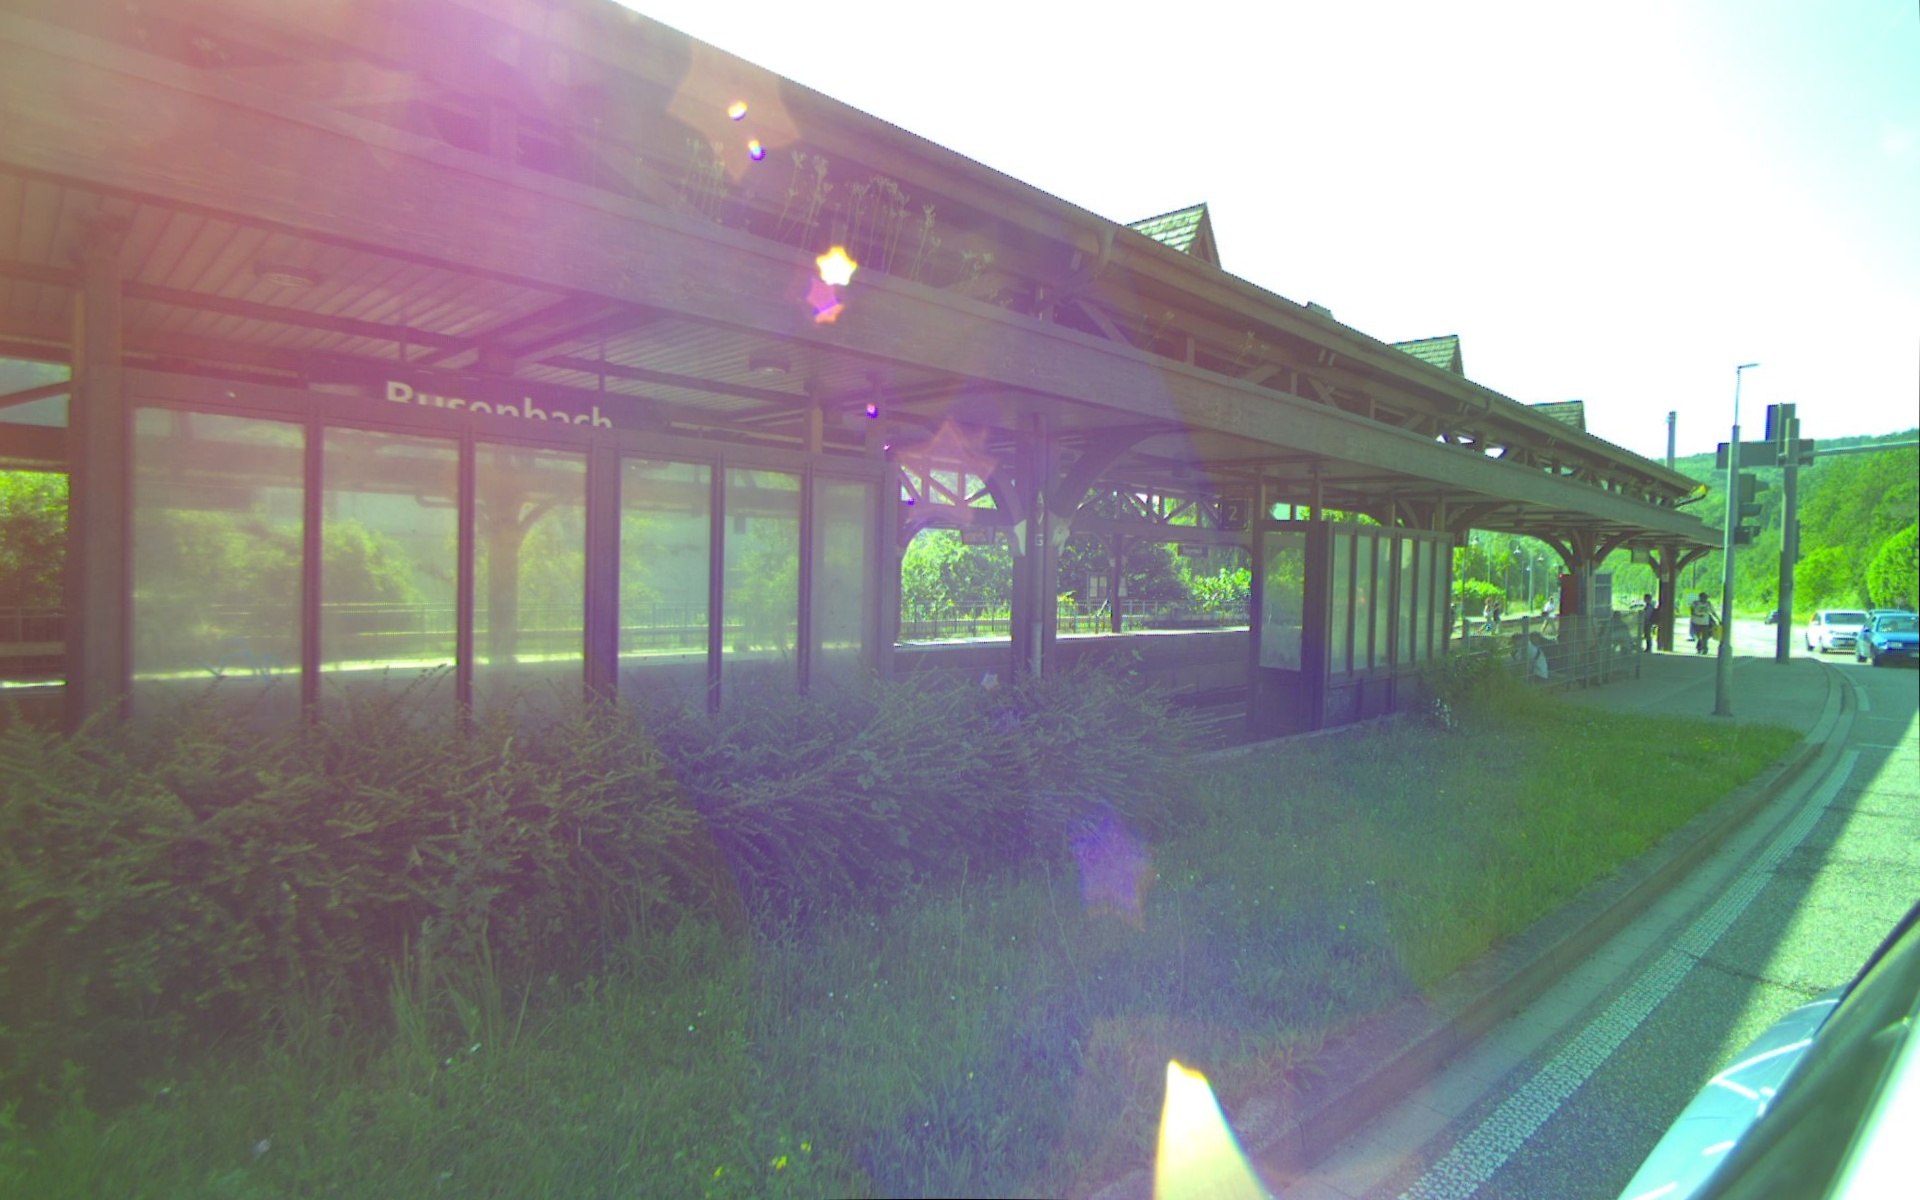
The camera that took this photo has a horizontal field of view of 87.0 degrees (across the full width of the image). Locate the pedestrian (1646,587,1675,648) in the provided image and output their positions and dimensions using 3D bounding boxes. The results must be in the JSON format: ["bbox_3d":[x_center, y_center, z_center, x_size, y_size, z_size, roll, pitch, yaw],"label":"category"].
[{"bbox_3d":[20.147,0.487,29.114,0.655,1.713,0.730,1,0,35],"label":"pedestrian"}]

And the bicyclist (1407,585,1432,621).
[{"bbox_3d":[21.784,0.152,48.003,0.900,1.706,0.810,-1,-2,41],"label":"bicyclist"}]

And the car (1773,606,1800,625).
[{"bbox_3d":[80.206,1.518,98.196,1.990,1.772,3.942,-1,-2,40],"label":"car"}]

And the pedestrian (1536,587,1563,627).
[{"bbox_3d":[25.494,0.324,43.775,0.864,1.706,0.810,-1,-2,42],"label":"pedestrian"}]

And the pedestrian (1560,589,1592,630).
[{"bbox_3d":[25.964,0.411,42.639,0.808,1.706,0.902,0,-2,5],"label":"pedestrian"}]

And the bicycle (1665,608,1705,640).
[{"bbox_3d":[24.985,0.803,34.901,0.596,1.069,1.802,-1,-1,20],"label":"bicycle"}]

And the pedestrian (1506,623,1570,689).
[{"bbox_3d":[9.110,0.866,15.948,0.741,0.995,0.757,-1,-2,42],"label":"pedestrian"}]

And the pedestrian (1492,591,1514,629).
[{"bbox_3d":[24.561,0.471,45.795,0.669,1.706,0.560,1,-2,-20],"label":"pedestrian"}]

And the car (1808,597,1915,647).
[{"bbox_3d":[30.719,0.727,34.620,1.984,1.605,3.955,-1,-1,31],"label":"car"}]

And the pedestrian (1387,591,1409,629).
[{"bbox_3d":[20.116,0.478,46.439,0.894,1.706,1.114,0,-2,26],"label":"pedestrian"}]

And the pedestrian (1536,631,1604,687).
[{"bbox_3d":[10.154,0.970,16.847,0.844,0.885,0.795,-1,-2,42],"label":"pedestrian"}]

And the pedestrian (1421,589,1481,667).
[{"bbox_3d":[10.280,0.569,21.190,0.860,1.567,0.908,1,-1,43],"label":"pedestrian"}]

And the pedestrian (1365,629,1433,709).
[{"bbox_3d":[6.407,0.985,14.757,0.741,1.131,0.657,-1,-2,42],"label":"pedestrian"}]

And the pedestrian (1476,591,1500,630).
[{"bbox_3d":[23.289,0.478,44.638,0.894,1.706,0.815,0,-2,26],"label":"pedestrian"}]

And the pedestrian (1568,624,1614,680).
[{"bbox_3d":[11.216,0.917,17.988,0.616,0.978,0.400,-1,-2,42],"label":"pedestrian"}]

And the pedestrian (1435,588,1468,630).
[{"bbox_3d":[22.452,0.402,46.235,1.054,1.867,0.989,3,-2,-42],"label":"pedestrian"}]

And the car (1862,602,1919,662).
[{"bbox_3d":[25.799,0.824,27.151,1.854,1.501,4.248,2,1,35],"label":"car"}]

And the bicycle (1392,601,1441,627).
[{"bbox_3d":[21.658,0.653,48.077,2.011,1.224,0.699,-1,-2,41],"label":"bicycle"}]

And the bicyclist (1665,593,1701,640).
[{"bbox_3d":[24.970,0.554,34.969,0.778,1.589,0.940,-1,-1,22],"label":"bicyclist"}]

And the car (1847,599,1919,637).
[{"bbox_3d":[39.830,0.781,43.425,1.965,1.523,3.941,0,-1,31],"label":"car"}]

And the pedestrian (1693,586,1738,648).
[{"bbox_3d":[22.047,0.507,29.528,0.913,1.759,1.232,-1,-2,42],"label":"pedestrian"}]

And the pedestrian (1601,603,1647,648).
[{"bbox_3d":[18.042,0.675,27.500,1.003,1.174,0.937,1,0,35],"label":"pedestrian"}]

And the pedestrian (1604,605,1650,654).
[{"bbox_3d":[17.422,0.774,26.438,0.988,1.251,0.589,-1,-2,36],"label":"pedestrian"}]
